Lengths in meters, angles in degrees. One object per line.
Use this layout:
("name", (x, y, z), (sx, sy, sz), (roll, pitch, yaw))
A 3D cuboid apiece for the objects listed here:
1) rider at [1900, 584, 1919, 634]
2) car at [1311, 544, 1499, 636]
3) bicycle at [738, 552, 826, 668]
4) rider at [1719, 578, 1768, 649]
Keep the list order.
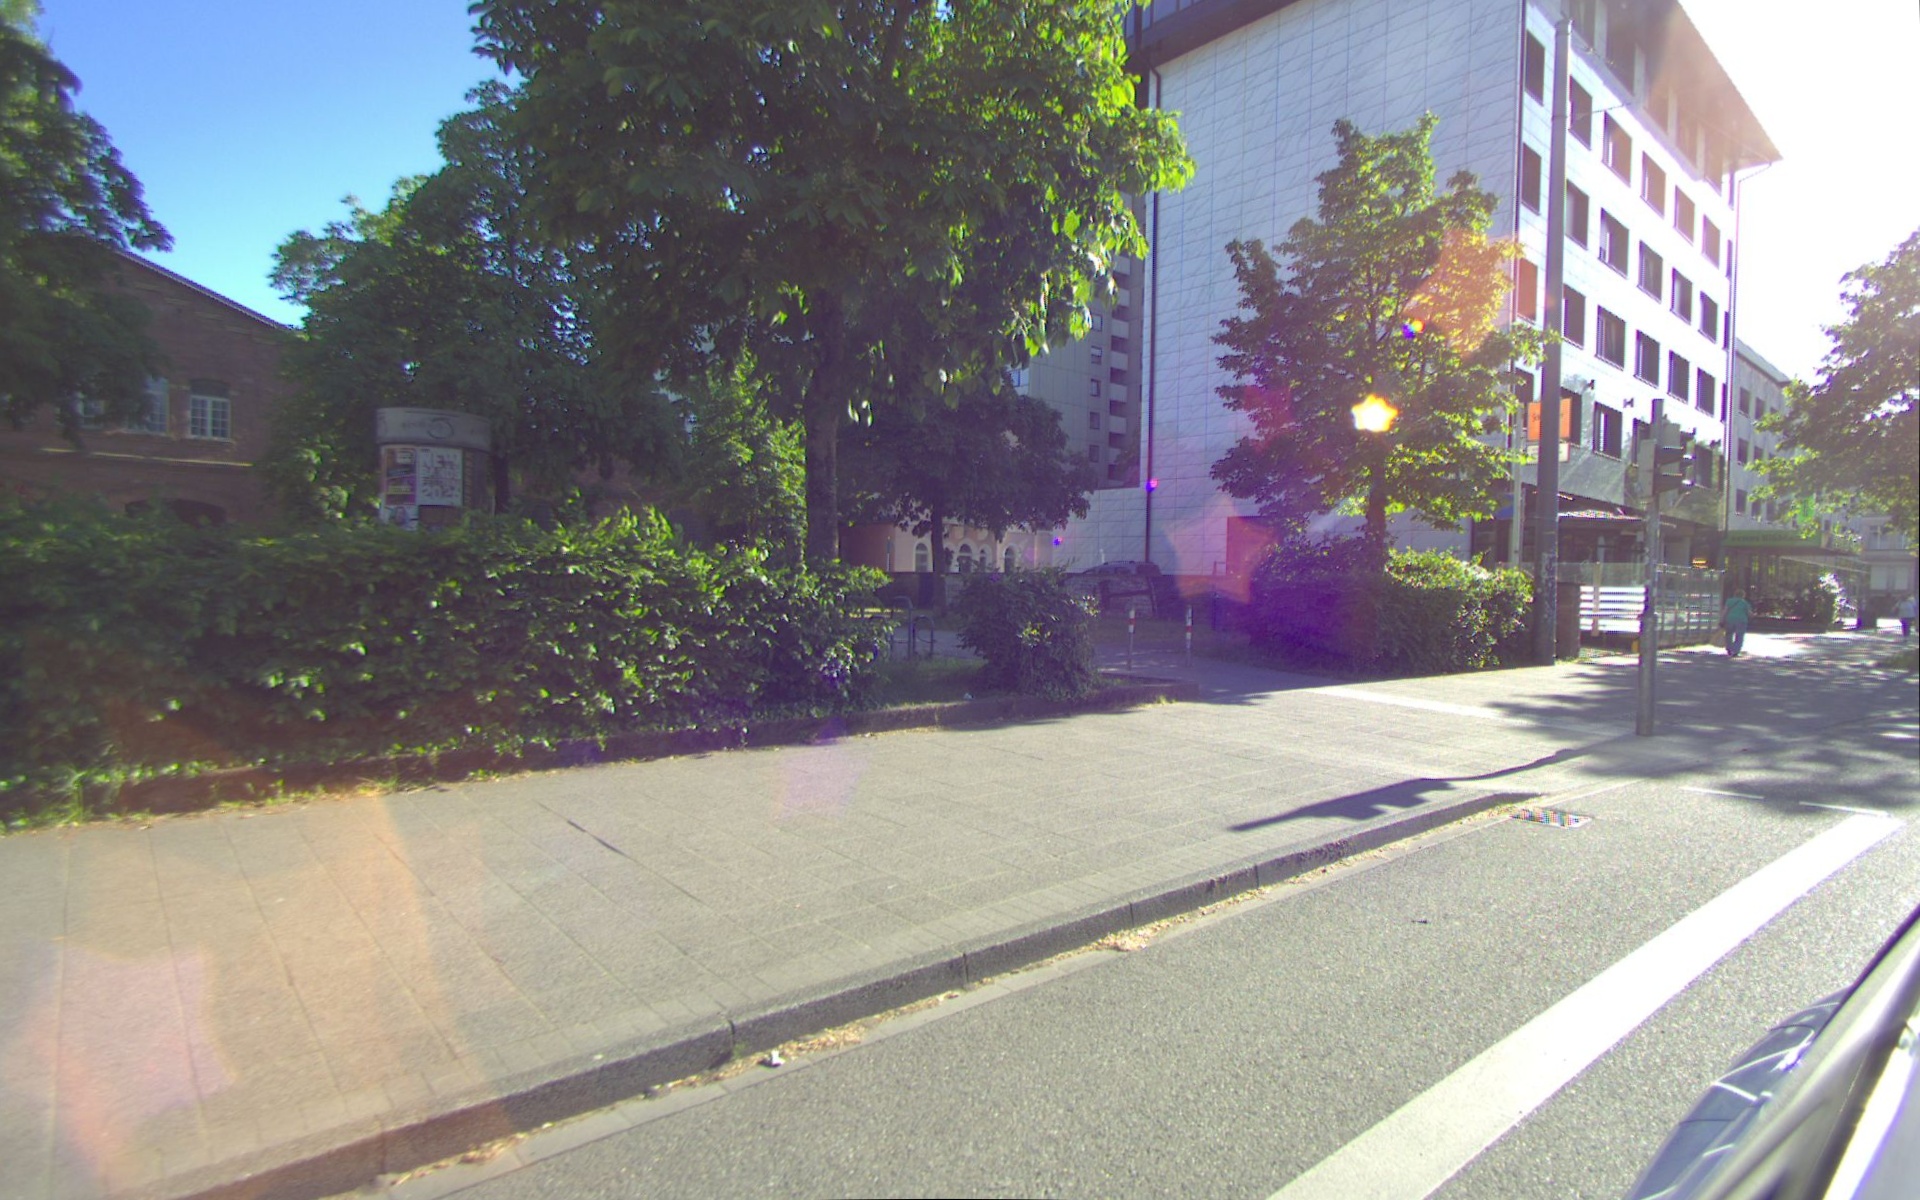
("rider", (33.012, 0.292, 34.795), (0.960, 1.699, 0.924), (0, 0, -41))
("car", (11.506, -0.331, 26.349), (1.966, 2.123, 3.993), (0, 3, -43))
("bicycle", (-2.268, 0.093, 12.728), (0.364, 1.350, 1.659), (3, 1, -35))
("rider", (18.543, 0.300, 23.949), (0.777, 1.610, 0.777), (0, 2, -45))
